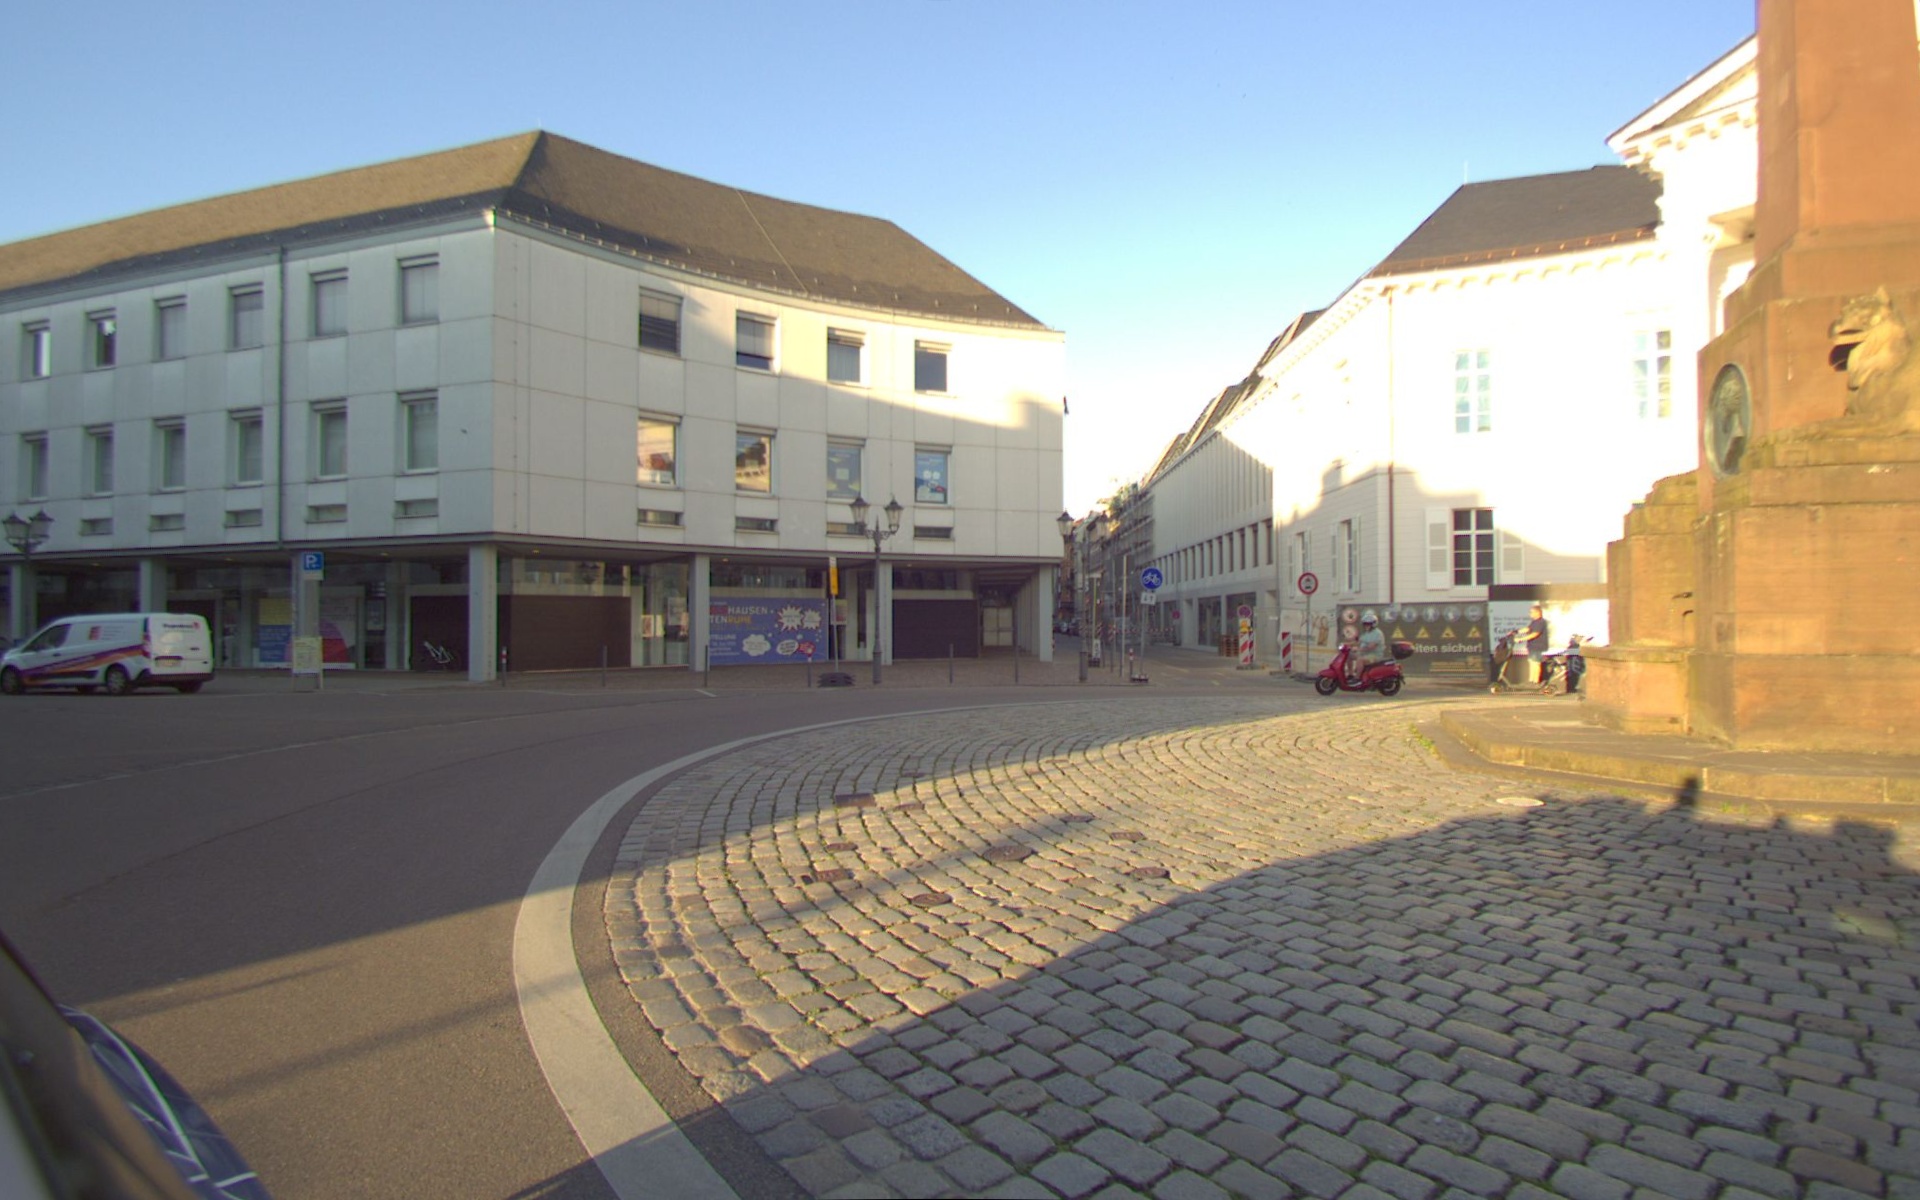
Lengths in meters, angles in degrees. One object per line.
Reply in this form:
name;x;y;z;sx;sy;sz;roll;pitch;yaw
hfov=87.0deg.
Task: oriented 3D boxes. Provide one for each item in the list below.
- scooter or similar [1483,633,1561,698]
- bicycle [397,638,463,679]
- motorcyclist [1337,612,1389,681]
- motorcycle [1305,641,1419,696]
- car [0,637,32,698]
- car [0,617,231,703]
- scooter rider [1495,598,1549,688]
scooter or similar;11.410;1.308;20.588;1.353;1.281;0.681;-1;-2;28
bicycle;-15.202;1.670;29.042;1.933;1.164;0.478;-1;-2;19
motorcyclist;8.034;0.920;20.217;0.852;1.353;0.801;-1;-1;15
motorcycle;8.003;1.345;20.224;2.014;1.053;0.801;-1;-1;16
car;-24.577;1.615;24.212;3.927;1.435;1.772;-1;-1;18
car;-19.296;1.313;23.014;4.414;1.839;2.014;-1;-1;13
scooter rider;11.421;0.869;20.593;0.904;1.777;0.679;-1;-2;28
